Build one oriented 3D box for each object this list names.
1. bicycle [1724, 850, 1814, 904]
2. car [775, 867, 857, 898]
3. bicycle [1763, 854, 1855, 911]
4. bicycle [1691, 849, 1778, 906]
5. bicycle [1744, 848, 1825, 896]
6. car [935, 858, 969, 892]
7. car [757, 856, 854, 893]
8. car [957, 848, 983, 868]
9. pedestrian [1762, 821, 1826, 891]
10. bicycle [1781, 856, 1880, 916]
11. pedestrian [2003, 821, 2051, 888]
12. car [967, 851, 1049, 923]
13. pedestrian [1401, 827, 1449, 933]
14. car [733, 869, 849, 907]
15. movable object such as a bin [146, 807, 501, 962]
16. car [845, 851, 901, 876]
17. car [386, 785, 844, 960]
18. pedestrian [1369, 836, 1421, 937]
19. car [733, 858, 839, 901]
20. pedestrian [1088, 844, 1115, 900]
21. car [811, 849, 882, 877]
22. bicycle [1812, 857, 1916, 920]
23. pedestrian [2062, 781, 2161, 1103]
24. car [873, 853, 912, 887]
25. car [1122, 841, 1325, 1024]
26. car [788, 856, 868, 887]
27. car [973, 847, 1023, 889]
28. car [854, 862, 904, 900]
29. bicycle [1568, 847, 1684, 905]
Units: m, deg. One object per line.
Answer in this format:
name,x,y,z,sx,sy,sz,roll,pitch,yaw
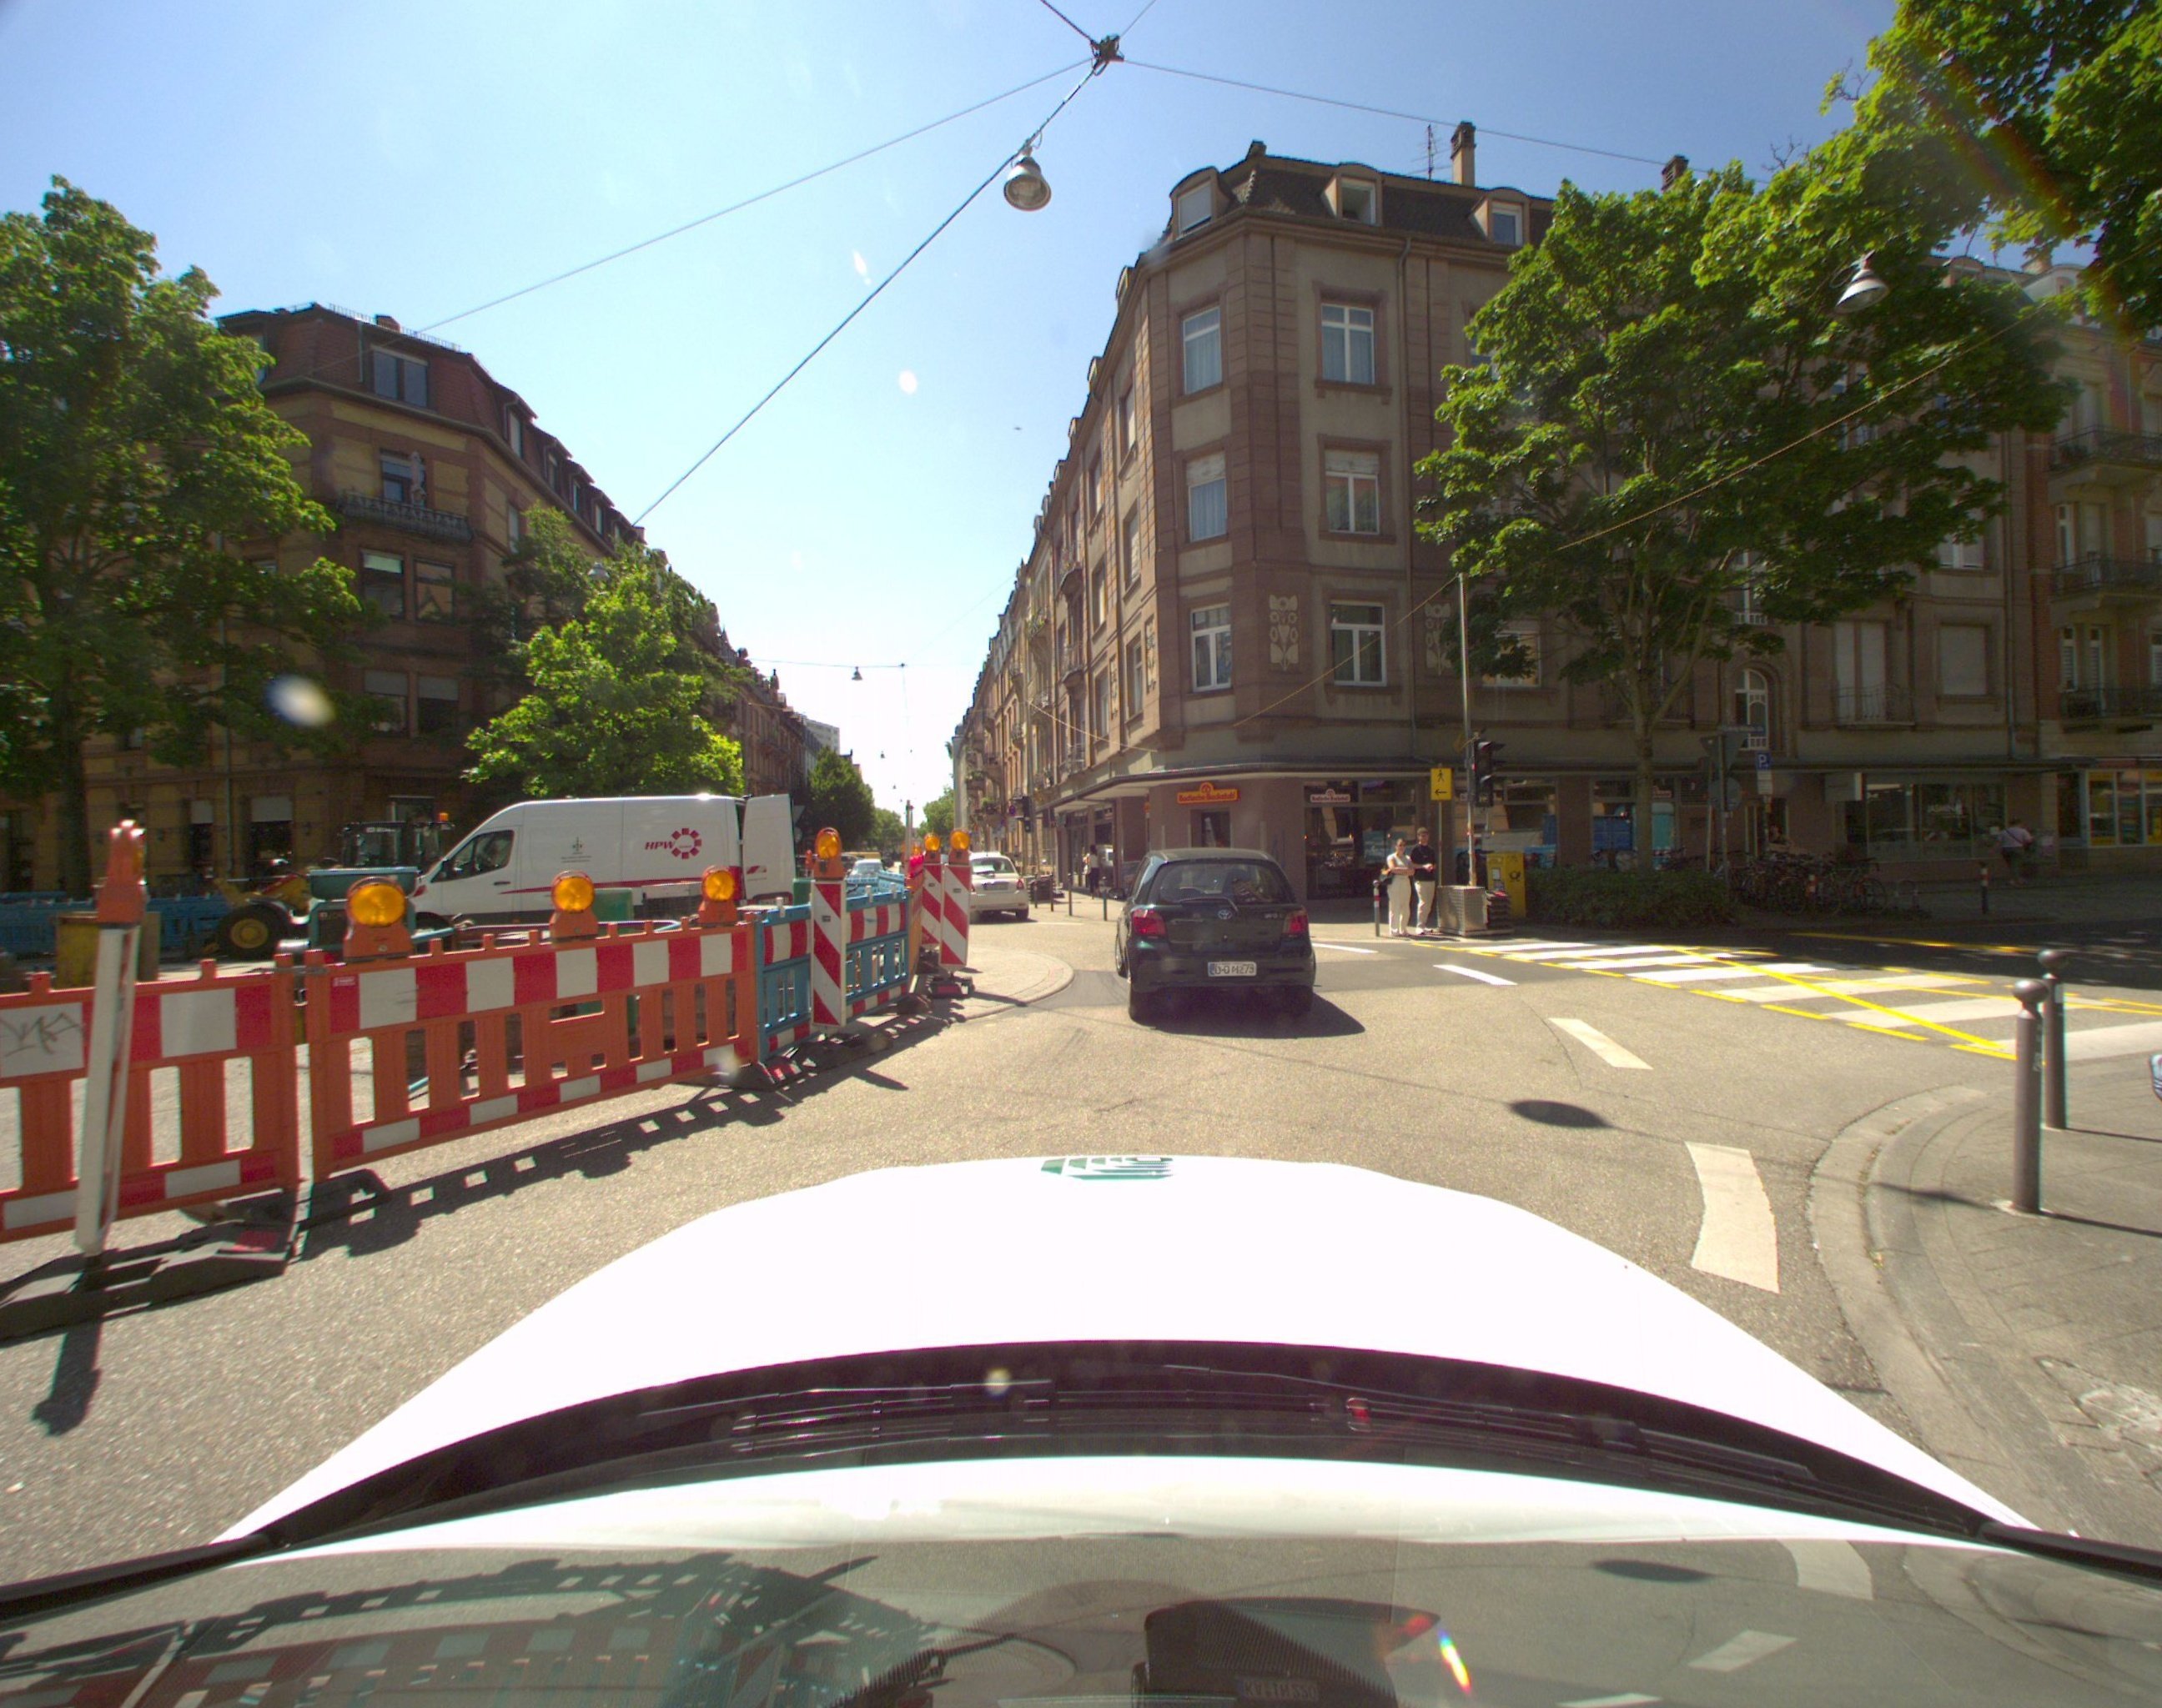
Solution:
bicycle,13.824,0.444,16.364,1.763,0.996,0.468,-2,2,-15
car,-13.251,1.406,40.786,3.645,1.458,1.607,0,-1,-34
bicycle,13.975,0.528,15.628,1.686,1.005,0.468,-2,2,-15
bicycle,13.519,0.466,16.847,1.763,1.080,0.468,-2,2,-15
bicycle,16.003,0.401,18.526,1.726,0.996,0.502,-2,2,-15
car,-6.596,1.015,41.369,1.524,1.592,3.250,-2,0,-12
car,-13.029,0.938,38.581,4.015,1.658,1.741,0,-1,-34
car,-8.591,0.312,62.887,1.755,1.429,3.986,-2,0,-10
pedestrian,17.335,0.044,19.815,0.856,1.634,0.784,-2,0,-11
bicycle,13.750,0.572,14.945,1.763,0.996,0.468,-2,2,-15
pedestrian,23.200,0.005,19.973,0.490,1.614,0.558,-2,0,-6
car,-1.799,0.704,19.253,1.524,1.521,3.250,-2,0,-12
pedestrian,5.974,0.426,14.135,0.577,1.768,0.468,-4,4,-19
car,-11.758,1.326,33.169,4.022,1.412,1.947,1,-1,-43
movable object such as a bin,-14.225,0.504,15.654,4.551,2.659,1.945,-1,0,-15
car,-19.175,0.860,75.178,4.594,2.187,1.977,-1,0,-38
car,-7.811,0.306,14.523,6.621,2.751,2.372,0,-1,-10
pedestrian,5.366,0.540,13.909,0.703,1.645,0.420,-4,4,-19
car,-12.878,1.068,35.673,4.020,1.804,1.748,0,-1,-40
pedestrian,0.608,0.522,24.430,0.641,1.623,0.801,-1,0,-10
car,-18.130,0.695,63.072,4.813,1.994,2.029,-1,0,-39
bicycle,13.822,0.592,14.376,1.763,0.996,0.468,-2,2,-15
pedestrian,6.043,0.469,4.377,0.474,1.733,0.874,-2,-1,9
car,-10.155,0.834,44.137,1.755,1.645,4.362,-4,0,-10
car,1.253,0.632,8.328,1.607,1.485,3.242,-1,0,2
car,-14.350,0.972,46.329,1.842,1.619,3.948,-1,0,39
car,-3.825,0.606,36.971,1.872,1.713,4.488,-3,0,-10
car,-8.557,1.112,34.766,1.755,1.444,3.986,-2,0,-10
bicycle,11.328,0.457,16.957,1.970,1.132,0.517,-2,0,7
